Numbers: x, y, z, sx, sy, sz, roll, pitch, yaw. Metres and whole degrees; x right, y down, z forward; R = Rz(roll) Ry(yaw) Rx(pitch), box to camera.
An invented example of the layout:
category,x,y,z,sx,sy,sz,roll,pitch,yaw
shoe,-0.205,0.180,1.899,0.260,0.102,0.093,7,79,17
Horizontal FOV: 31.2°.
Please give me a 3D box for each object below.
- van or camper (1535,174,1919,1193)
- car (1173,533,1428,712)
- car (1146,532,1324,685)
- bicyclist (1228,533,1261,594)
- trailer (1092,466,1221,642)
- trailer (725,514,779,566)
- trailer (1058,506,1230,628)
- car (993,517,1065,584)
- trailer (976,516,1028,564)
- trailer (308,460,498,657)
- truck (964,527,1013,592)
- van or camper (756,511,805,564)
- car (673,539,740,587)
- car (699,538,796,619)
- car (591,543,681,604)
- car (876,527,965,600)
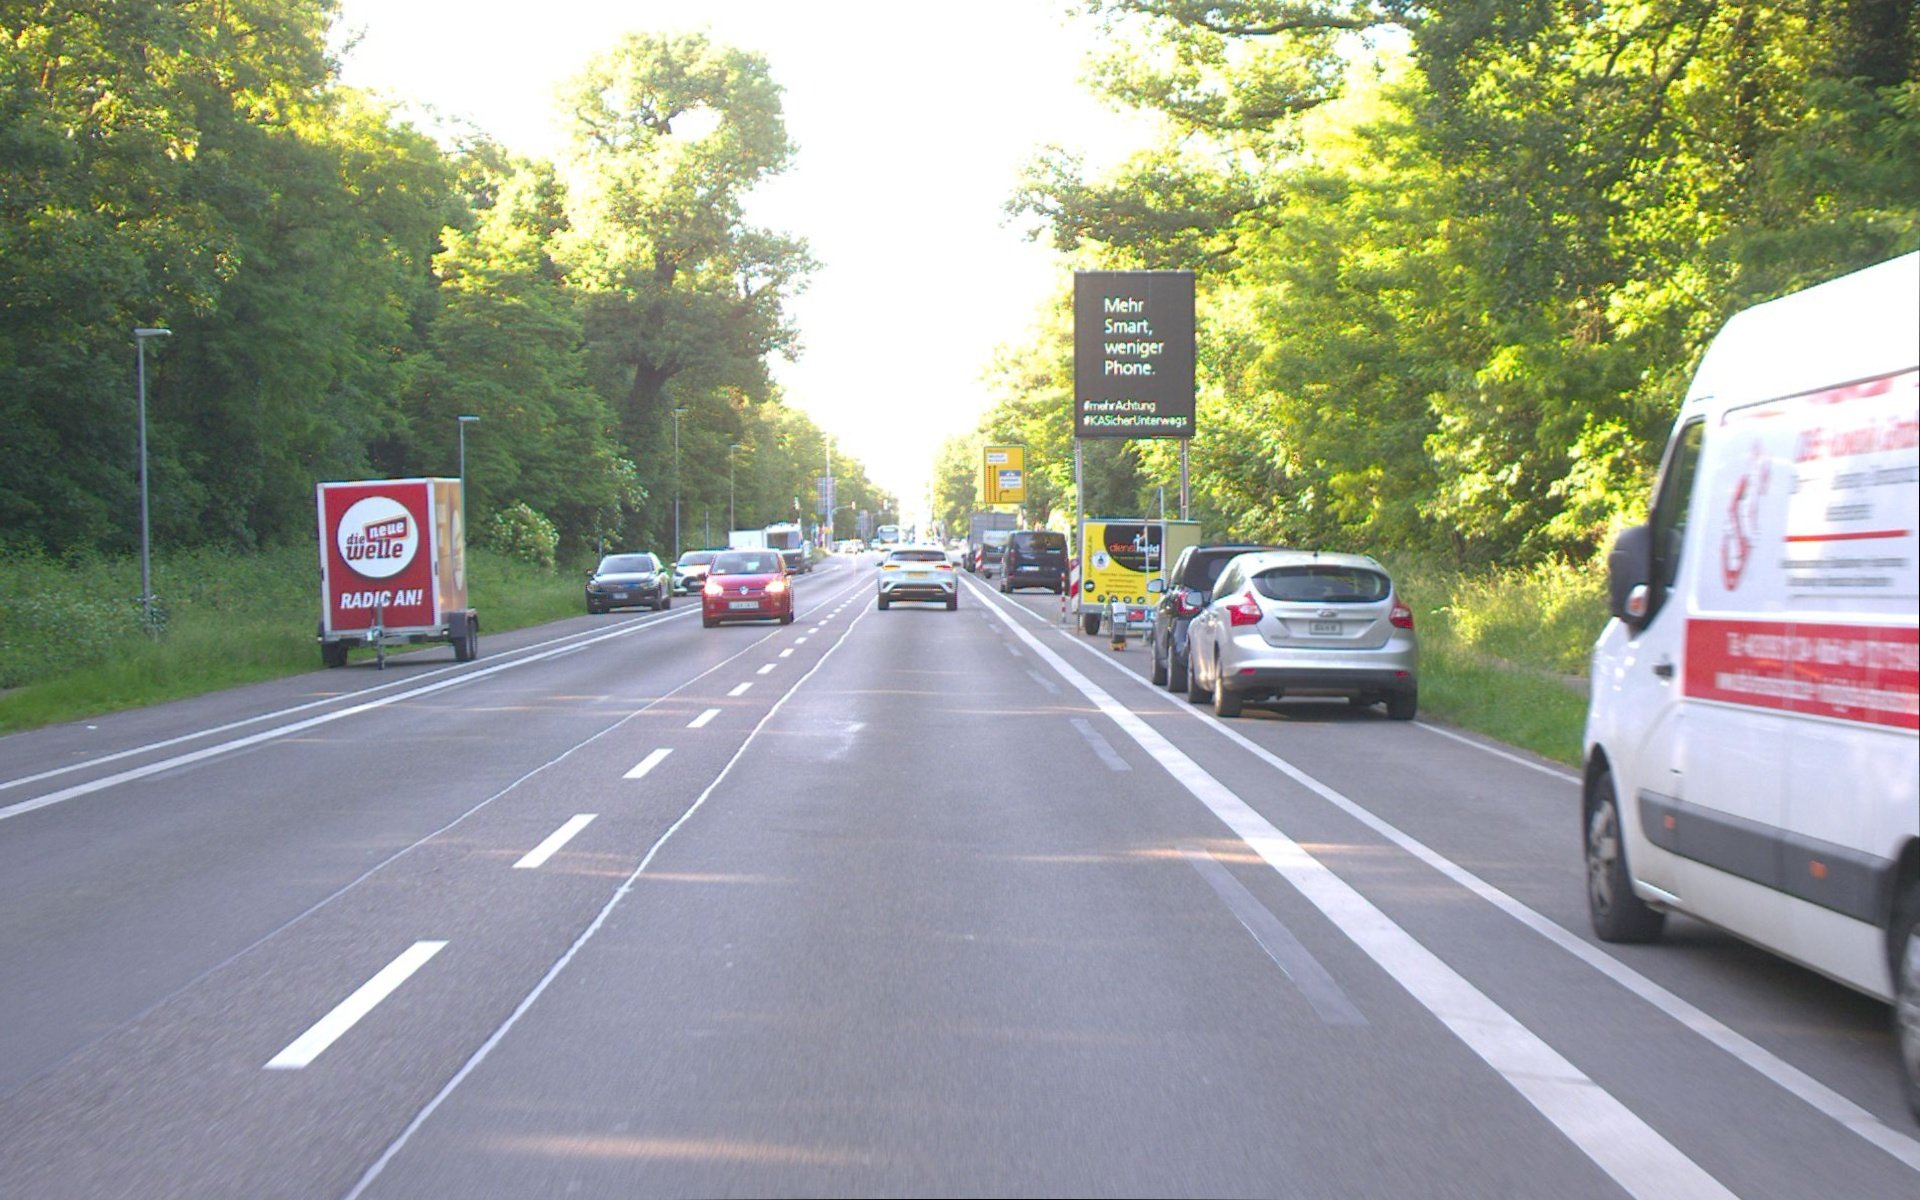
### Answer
category,x,y,z,sx,sy,sz,roll,pitch,yaw
van or camper,3.408,0.146,10.942,2.125,2.474,6.305,0,1,0
car,3.044,0.154,31.567,1.734,1.482,4.401,1,1,-2
car,2.880,0.058,36.545,1.586,1.525,3.011,1,1,-1
bicyclist,6.235,-0.810,75.430,0.610,1.320,1.175,0,1,0
trailer,2.884,-0.682,51.182,1.613,2.500,4.000,0,1,-1
trailer,-9.356,-2.697,154.908,2.075,2.285,3.486,-1,1,1
trailer,3.202,-0.595,59.101,1.964,2.016,3.840,0,1,19
car,2.155,-1.581,108.771,2.113,2.007,5.040,1,1,0
trailer,1.878,-2.663,152.760,1.616,2.105,2.394,1,1,20
trailer,-7.744,-0.597,48.175,1.993,2.612,4.086,-1,1,0
truck,1.503,-2.158,183.130,2.505,3.355,7.107,0,1,0
van or camper,-9.702,-3.386,186.199,2.302,2.758,5.557,-3,1,0
car,-8.370,-1.244,113.910,1.867,1.445,4.071,-3,1,0
car,-3.980,-0.423,64.810,1.604,1.416,3.519,-2,1,-1
car,-8.136,-0.688,86.684,1.855,1.459,4.784,-1,1,-1
car,-0.912,-0.862,79.445,1.993,1.634,4.000,-1,1,-1
